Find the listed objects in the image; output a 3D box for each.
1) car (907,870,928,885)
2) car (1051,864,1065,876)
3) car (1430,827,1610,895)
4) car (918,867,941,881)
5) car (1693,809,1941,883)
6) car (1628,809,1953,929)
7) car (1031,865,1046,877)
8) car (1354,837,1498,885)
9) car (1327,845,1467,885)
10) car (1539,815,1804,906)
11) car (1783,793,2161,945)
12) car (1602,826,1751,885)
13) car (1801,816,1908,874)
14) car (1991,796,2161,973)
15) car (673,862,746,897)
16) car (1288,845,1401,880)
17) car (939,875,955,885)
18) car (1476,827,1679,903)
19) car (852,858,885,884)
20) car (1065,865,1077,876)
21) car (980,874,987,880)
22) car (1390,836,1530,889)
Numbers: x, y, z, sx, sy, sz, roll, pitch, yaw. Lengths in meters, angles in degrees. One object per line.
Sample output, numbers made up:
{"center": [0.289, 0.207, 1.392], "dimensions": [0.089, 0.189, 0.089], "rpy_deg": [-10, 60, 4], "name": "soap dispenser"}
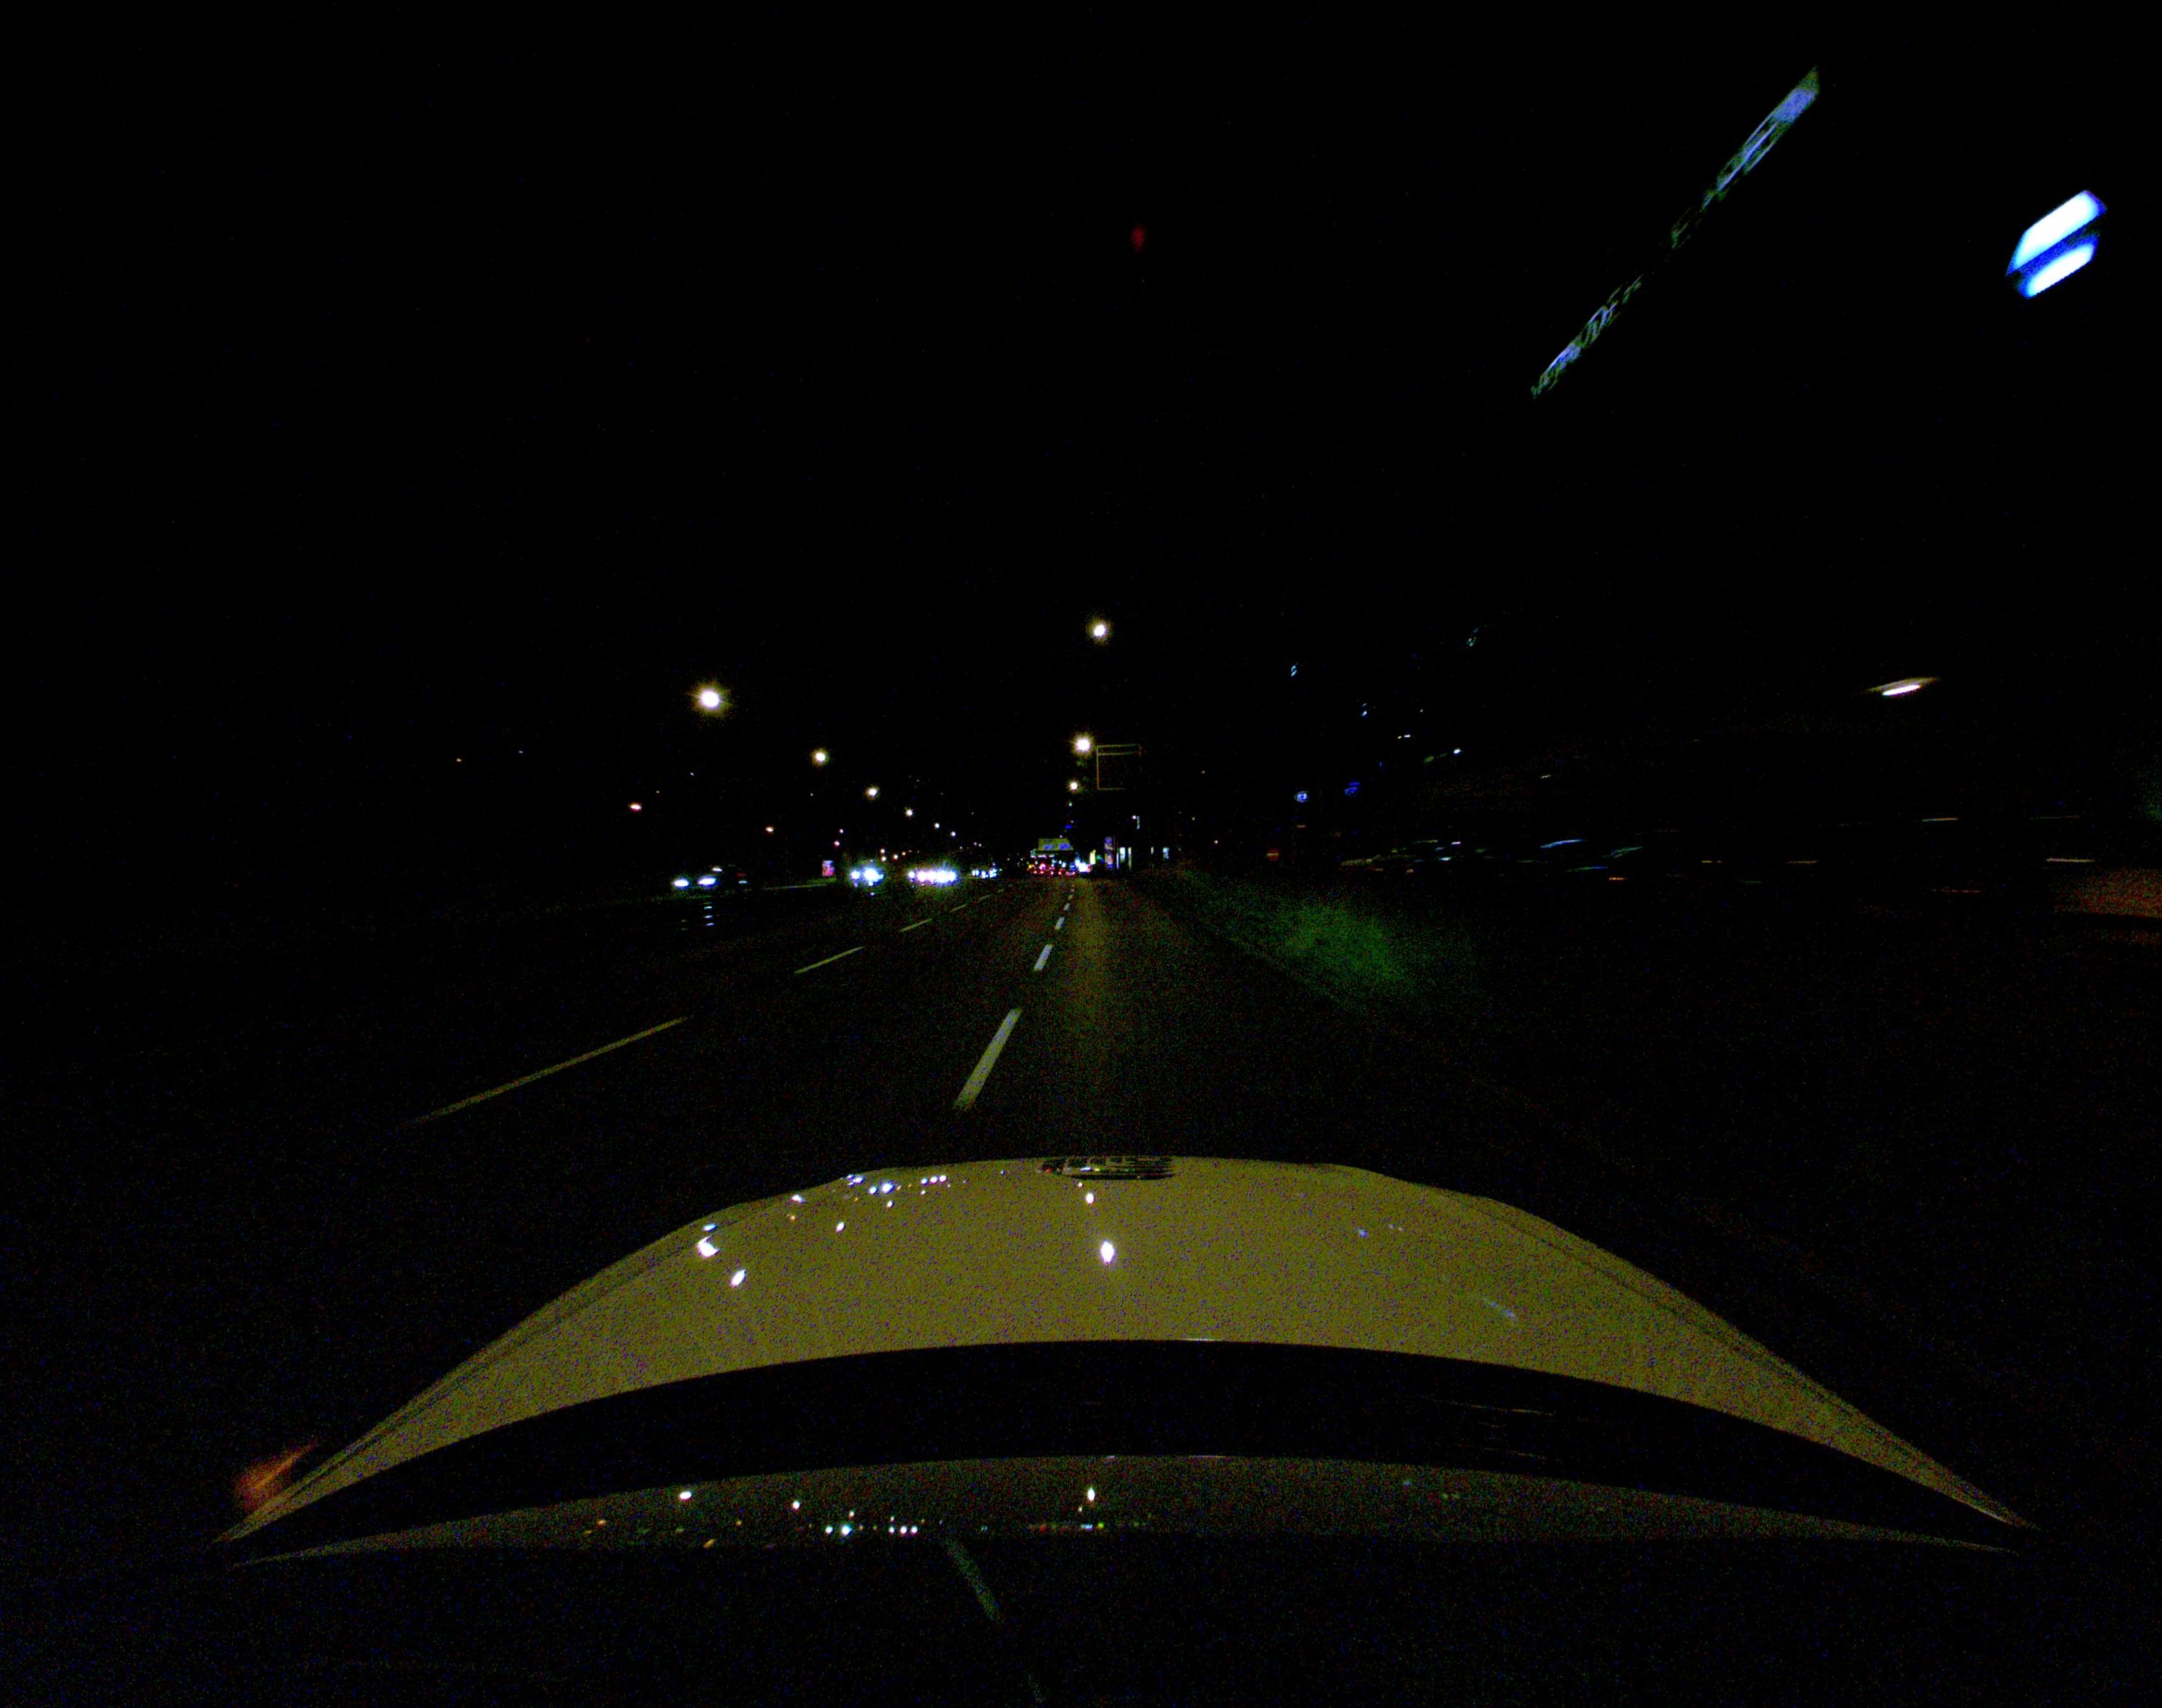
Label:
{"center": [-20.406, 2.917, 101.563], "dimensions": [1.990, 1.594, 3.994], "rpy_deg": [-3, 0, -4], "name": "car"}
{"center": [-4.157, 2.916, 146.527], "dimensions": [2.348, 2.129, 4.826], "rpy_deg": [-1, -1, 1], "name": "car"}
{"center": [11.324, 0.160, 21.058], "dimensions": [3.999, 1.470, 1.821], "rpy_deg": [-3, 0, -18], "name": "car"}
{"center": [-16.699, 2.160, 90.056], "dimensions": [1.615, 1.440, 4.337], "rpy_deg": [-3, -1, 0], "name": "car"}
{"center": [16.125, -0.148, 18.033], "dimensions": [1.632, 1.464, 3.756], "rpy_deg": [-1, 0, -32], "name": "car"}
{"center": [10.929, 0.195, 12.623], "dimensions": [4.030, 1.373, 1.816], "rpy_deg": [-5, 0, -15], "name": "car"}
{"center": [-7.848, 3.126, 150.537], "dimensions": [2.255, 2.014, 4.826], "rpy_deg": [-1, -1, 1], "name": "car"}
{"center": [11.144, 0.200, 26.359], "dimensions": [3.996, 1.424, 1.899], "rpy_deg": [-1, 0, -17], "name": "car"}
{"center": [11.288, 0.343, 29.079], "dimensions": [4.650, 1.264, 1.932], "rpy_deg": [-1, 0, -24], "name": "car"}
{"center": [11.221, 0.103, 15.607], "dimensions": [3.987, 1.381, 1.803], "rpy_deg": [-4, 0, -10], "name": "car"}
{"center": [11.080, 0.136, 10.034], "dimensions": [3.771, 1.378, 1.709], "rpy_deg": [-5, 0, -12], "name": "car"}
{"center": [16.250, 0.053, 22.304], "dimensions": [1.328, 1.486, 3.037], "rpy_deg": [-1, 0, -39], "name": "car"}
{"center": [24.131, -0.248, 25.362], "dimensions": [4.340, 1.654, 1.639], "rpy_deg": [0, -1, -36], "name": "car"}
{"center": [10.927, 0.153, 7.510], "dimensions": [3.806, 1.453, 1.710], "rpy_deg": [-4, 0, -13], "name": "car"}
{"center": [-19.227, 1.279, 42.388], "dimensions": [1.773, 1.713, 4.228], "rpy_deg": [-1, -1, 1], "name": "car"}
{"center": [10.953, 0.353, 33.999], "dimensions": [4.125, 1.420, 1.869], "rpy_deg": [0, -1, -13], "name": "car"}
{"center": [-21.690, 4.179, 131.892], "dimensions": [1.861, 1.429, 4.953], "rpy_deg": [0, -1, -1], "name": "car"}
{"center": [11.103, 0.201, 18.247], "dimensions": [4.002, 1.391, 1.813], "rpy_deg": [-3, 1, -21], "name": "car"}
{"center": [-23.497, 1.859, 90.373], "dimensions": [2.141, 2.671, 6.951], "rpy_deg": [-4, -1, -4], "name": "car"}
{"center": [-2.102, 3.418, 170.315], "dimensions": [2.419, 2.113, 4.826], "rpy_deg": [-1, -1, 1], "name": "car"}
{"center": [-30.611, 7.103, 255.864], "dimensions": [1.859, 1.750, 3.697], "rpy_deg": [-1, -1, -3], "name": "car"}
{"center": [10.952, 0.228, 23.534], "dimensions": [3.616, 1.433, 1.667], "rpy_deg": [-1, -1, -23], "name": "car"}
